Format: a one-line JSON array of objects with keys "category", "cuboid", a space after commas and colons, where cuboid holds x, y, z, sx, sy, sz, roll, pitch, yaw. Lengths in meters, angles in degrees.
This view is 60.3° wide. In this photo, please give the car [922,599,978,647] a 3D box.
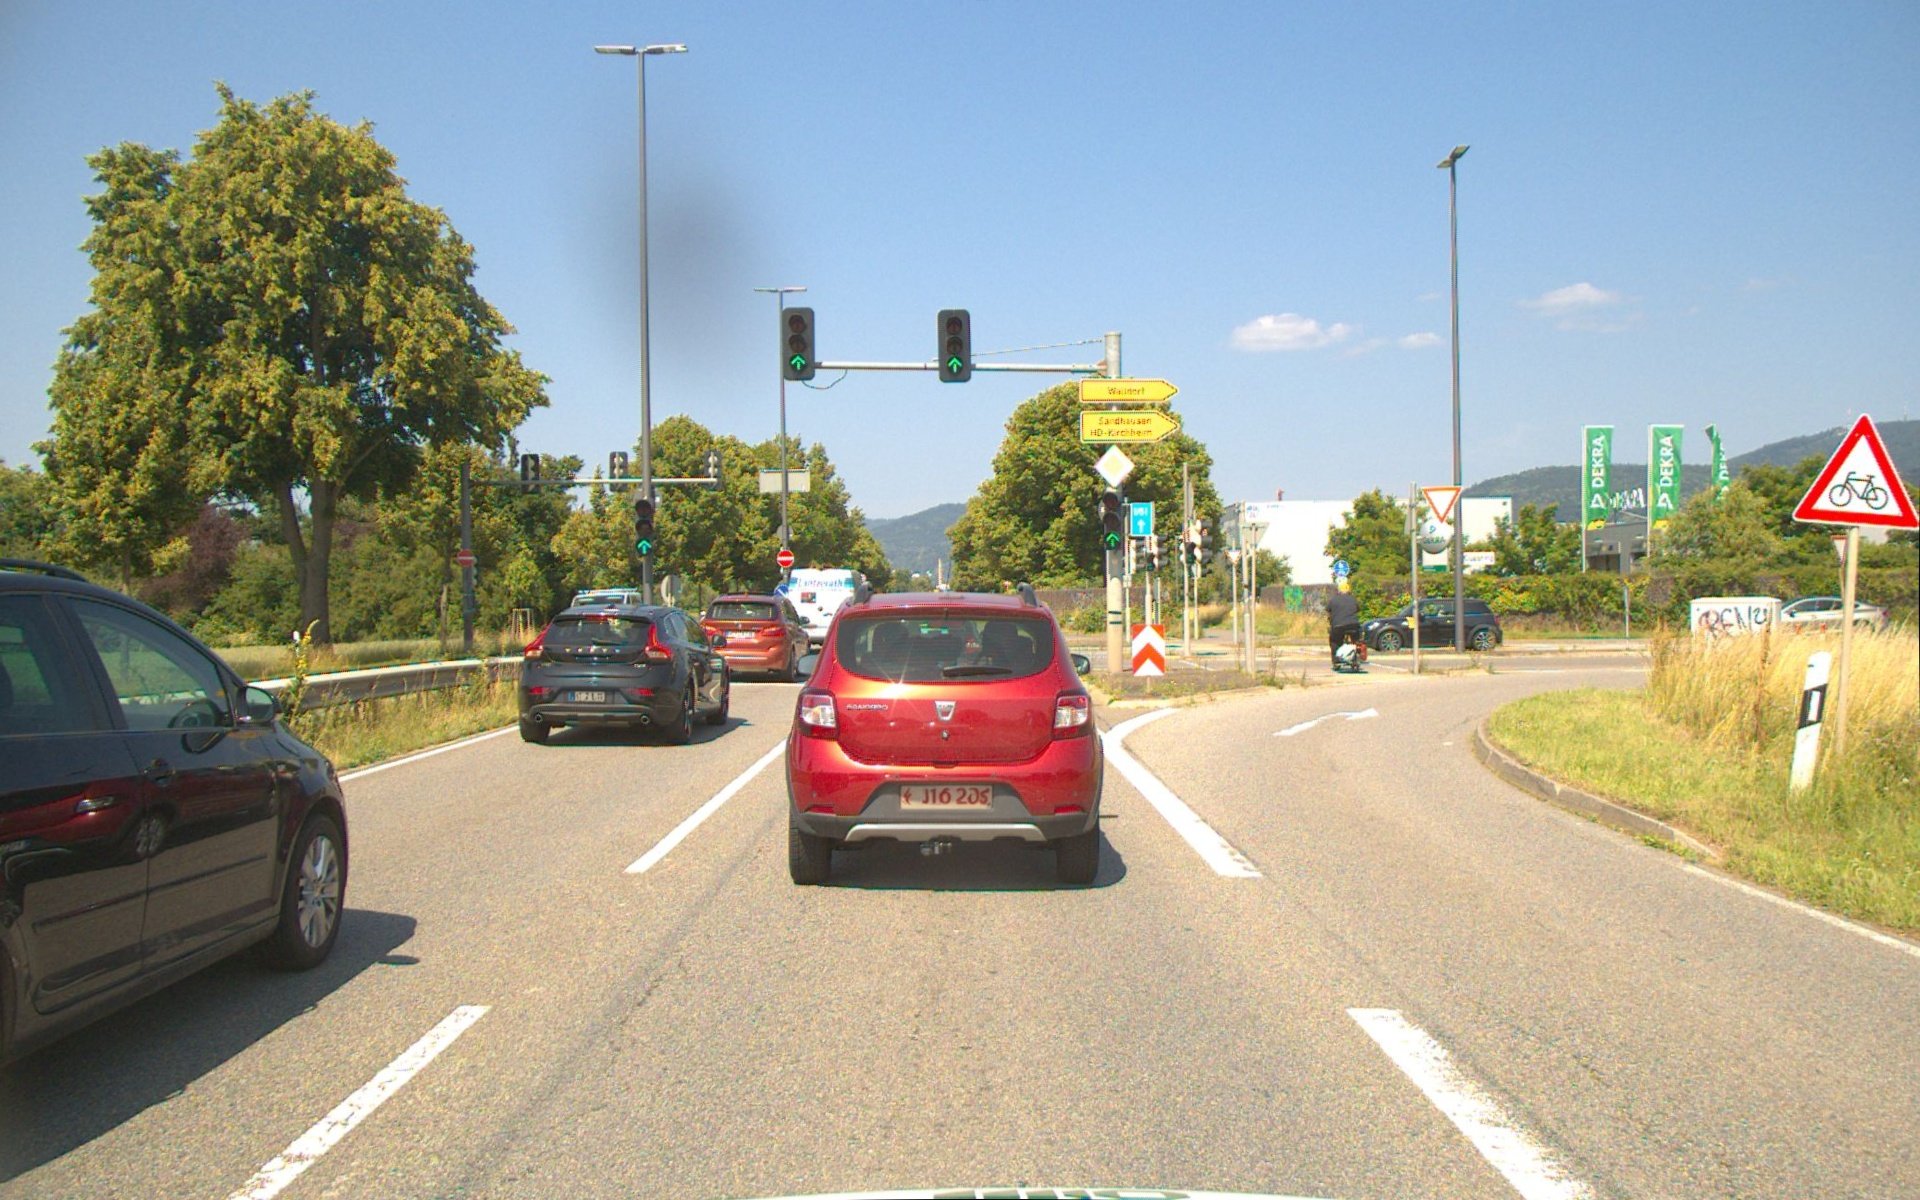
[{"category": "car", "cuboid": [-0.282, 0.721, 53.145, 1.713, 1.483, 3.677, 0, 0, 1]}]

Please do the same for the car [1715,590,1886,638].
[{"category": "car", "cuboid": [25.171, 0.418, 49.670, 4.271, 1.350, 1.808, -1, 0, 13]}]

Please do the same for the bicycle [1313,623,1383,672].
[{"category": "bicycle", "cuboid": [8.116, 0.969, 34.733, 0.746, 0.931, 2.779, -1, 0, -1]}]

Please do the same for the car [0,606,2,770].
[{"category": "car", "cuboid": [-10.381, 0.901, 14.502, 1.710, 1.646, 4.133, -1, 0, -3]}]

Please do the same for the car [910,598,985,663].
[{"category": "car", "cuboid": [-0.259, 0.706, 39.753, 1.713, 1.483, 3.677, 0, 0, 1]}]

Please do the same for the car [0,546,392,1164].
[{"category": "car", "cuboid": [-3.329, 0.653, 5.253, 1.688, 1.603, 3.892, 0, 0, 0]}]

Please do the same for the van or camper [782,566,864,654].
[{"category": "van or camper", "cuboid": [-3.809, 0.263, 46.630, 2.135, 2.343, 4.824, 0, 0, -3]}]

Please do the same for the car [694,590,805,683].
[{"category": "car", "cuboid": [-3.889, 0.636, 31.065, 1.689, 1.628, 3.954, 0, 0, -2]}]

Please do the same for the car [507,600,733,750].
[{"category": "car", "cuboid": [-3.639, 0.742, 18.377, 1.667, 1.467, 3.955, 1, 0, 0]}]

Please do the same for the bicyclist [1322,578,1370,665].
[{"category": "bicyclist", "cuboid": [8.104, 0.442, 34.768, 0.786, 1.802, 0.808, -1, 0, -2]}]

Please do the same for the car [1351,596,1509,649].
[{"category": "car", "cuboid": [12.552, 0.595, 44.404, 3.901, 1.350, 1.808, -1, 0, 10]}]

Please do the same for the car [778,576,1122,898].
[{"category": "car", "cuboid": [-0.014, 0.685, 10.101, 1.713, 1.603, 3.677, 0, 0, 1]}]

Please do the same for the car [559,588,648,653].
[{"category": "car", "cuboid": [-11.713, 0.626, 54.619, 1.953, 2.015, 5.014, -1, 0, -2]}]

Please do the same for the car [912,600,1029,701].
[{"category": "car", "cuboid": [0.191, 0.740, 26.225, 1.713, 1.483, 3.677, 0, 0, 1]}]

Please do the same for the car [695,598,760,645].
[{"category": "car", "cuboid": [-8.814, 0.784, 62.948, 1.953, 1.699, 3.999, -1, 0, -1]}]
